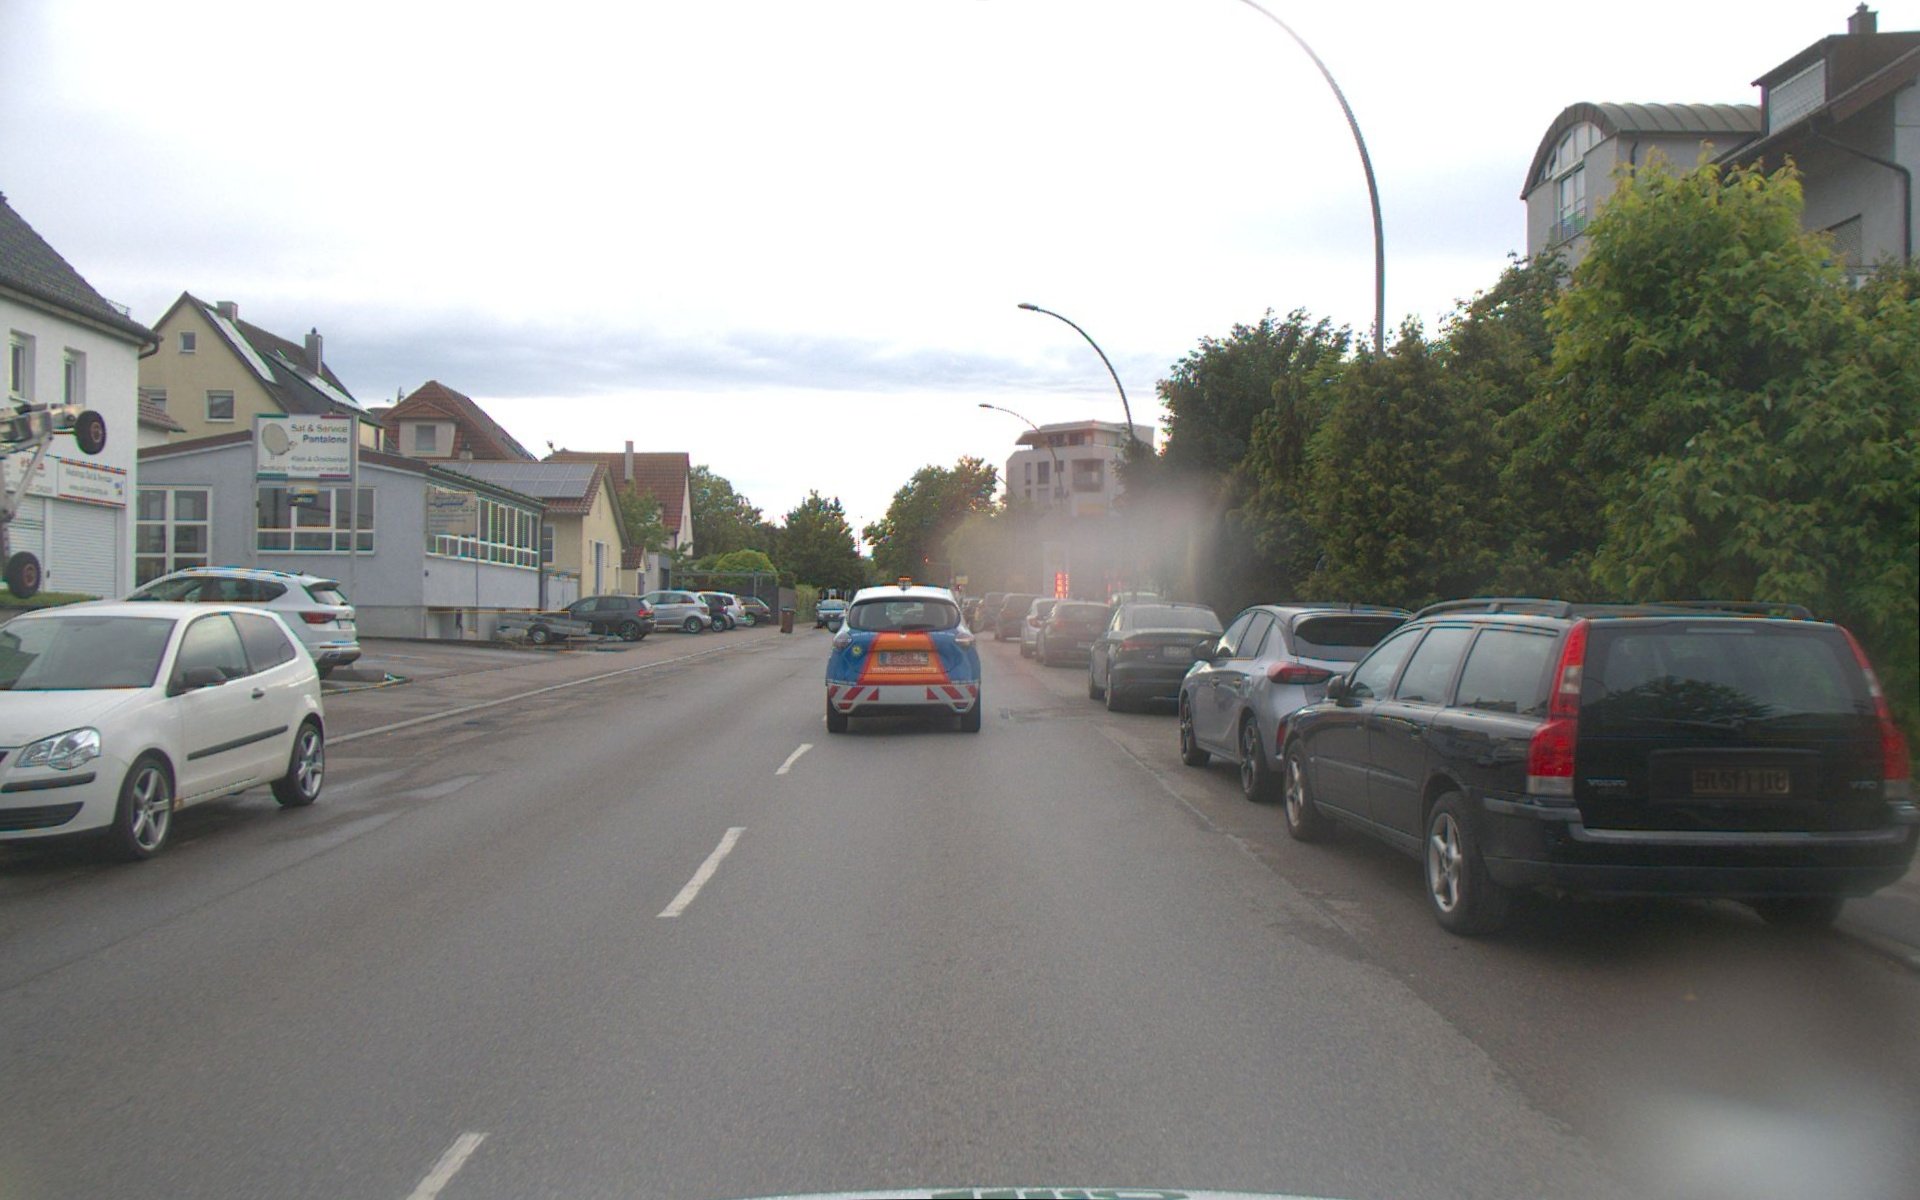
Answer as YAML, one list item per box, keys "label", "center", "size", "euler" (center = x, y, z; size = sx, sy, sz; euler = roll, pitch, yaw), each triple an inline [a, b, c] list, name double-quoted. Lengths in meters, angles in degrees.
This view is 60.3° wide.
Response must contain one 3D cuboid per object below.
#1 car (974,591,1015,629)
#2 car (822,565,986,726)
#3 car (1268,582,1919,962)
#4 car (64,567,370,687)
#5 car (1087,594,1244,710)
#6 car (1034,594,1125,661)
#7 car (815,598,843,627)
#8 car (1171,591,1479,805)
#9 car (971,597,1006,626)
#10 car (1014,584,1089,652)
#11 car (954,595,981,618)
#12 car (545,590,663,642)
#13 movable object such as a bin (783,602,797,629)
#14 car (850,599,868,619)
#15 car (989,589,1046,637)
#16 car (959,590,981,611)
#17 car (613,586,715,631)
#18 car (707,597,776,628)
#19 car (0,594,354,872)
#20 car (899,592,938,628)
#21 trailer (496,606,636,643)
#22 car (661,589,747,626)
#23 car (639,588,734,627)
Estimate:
- label: "car"
  center: [1.627, 0.469, 79.008]
  size: [1.617, 1.701, 3.998]
  euler: [2, 0, -3]
- label: "car"
  center: [-0.638, 0.478, 19.003]
  size: [1.696, 1.659, 3.493]
  euler: [0, 0, -2]
- label: "car"
  center: [3.023, 0.686, 8.779]
  size: [1.677, 1.463, 4.523]
  euler: [2, 0, -3]
- label: "car"
  center: [-10.831, 0.389, 24.292]
  size: [3.684, 1.595, 1.654]
  euler: [2, 0, -3]
- label: "car"
  center: [2.709, 0.652, 22.570]
  size: [1.572, 1.398, 4.086]
  euler: [2, 0, 0]
- label: "car"
  center: [2.557, 0.567, 36.127]
  size: [1.616, 1.358, 3.999]
  euler: [0, 1, -1]
- label: "car"
  center: [-7.082, 0.639, 89.370]
  size: [1.358, 1.509, 3.782]
  euler: [0, 0, -3]
- label: "car"
  center: [2.813, 0.683, 13.531]
  size: [1.509, 1.454, 3.749]
  euler: [2, 1, -3]
- label: "car"
  center: [1.532, 0.604, 89.828]
  size: [1.617, 1.509, 3.998]
  euler: [2, 0, -3]
- label: "car"
  center: [2.237, 0.455, 41.326]
  size: [1.451, 1.583, 3.859]
  euler: [2, -1, -2]
- label: "car"
  center: [0.480, 0.426, 110.920]
  size: [1.617, 1.509, 3.998]
  euler: [2, 0, -3]
- label: "car"
  center: [-11.507, 0.522, 53.583]
  size: [3.511, 1.553, 1.653]
  euler: [2, 0, -5]
- label: "movable object such as a bin"
  center: [-7.673, 0.705, 74.529]
  size: [0.568, 1.225, 0.318]
  euler: [1, 0, -1]
- label: "car"
  center: [-6.589, 0.595, 107.900]
  size: [1.128, 1.254, 3.370]
  euler: [0, 1, -3]
- label: "car"
  center: [1.968, 0.425, 57.242]
  size: [1.617, 1.548, 3.998]
  euler: [2, 0, -3]
- label: "car"
  center: [0.801, 0.082, 138.281]
  size: [1.617, 1.682, 3.998]
  euler: [2, 0, -3]
- label: "car"
  center: [-11.456, 0.321, 64.170]
  size: [3.686, 1.604, 1.653]
  euler: [2, 0, -5]
- label: "car"
  center: [-10.616, 0.594, 80.462]
  size: [3.217, 1.473, 1.478]
  euler: [-1, 0, -5]
- label: "car"
  center: [-5.476, 0.714, 10.869]
  size: [1.526, 1.458, 3.999]
  euler: [2, 0, -1]
- label: "car"
  center: [-1.902, 0.430, 74.525]
  size: [1.617, 1.548, 3.998]
  euler: [2, 0, -3]
- label: "trailer"
  center: [-12.138, 0.756, 51.101]
  size: [3.942, 1.012, 1.654]
  euler: [2, 0, -3]
- label: "car"
  center: [-11.171, 0.318, 72.323]
  size: [3.582, 1.509, 1.478]
  euler: [-1, 0, -5]
- label: "car"
  center: [-11.302, 0.300, 68.537]
  size: [3.686, 1.509, 1.653]
  euler: [2, 0, -5]
